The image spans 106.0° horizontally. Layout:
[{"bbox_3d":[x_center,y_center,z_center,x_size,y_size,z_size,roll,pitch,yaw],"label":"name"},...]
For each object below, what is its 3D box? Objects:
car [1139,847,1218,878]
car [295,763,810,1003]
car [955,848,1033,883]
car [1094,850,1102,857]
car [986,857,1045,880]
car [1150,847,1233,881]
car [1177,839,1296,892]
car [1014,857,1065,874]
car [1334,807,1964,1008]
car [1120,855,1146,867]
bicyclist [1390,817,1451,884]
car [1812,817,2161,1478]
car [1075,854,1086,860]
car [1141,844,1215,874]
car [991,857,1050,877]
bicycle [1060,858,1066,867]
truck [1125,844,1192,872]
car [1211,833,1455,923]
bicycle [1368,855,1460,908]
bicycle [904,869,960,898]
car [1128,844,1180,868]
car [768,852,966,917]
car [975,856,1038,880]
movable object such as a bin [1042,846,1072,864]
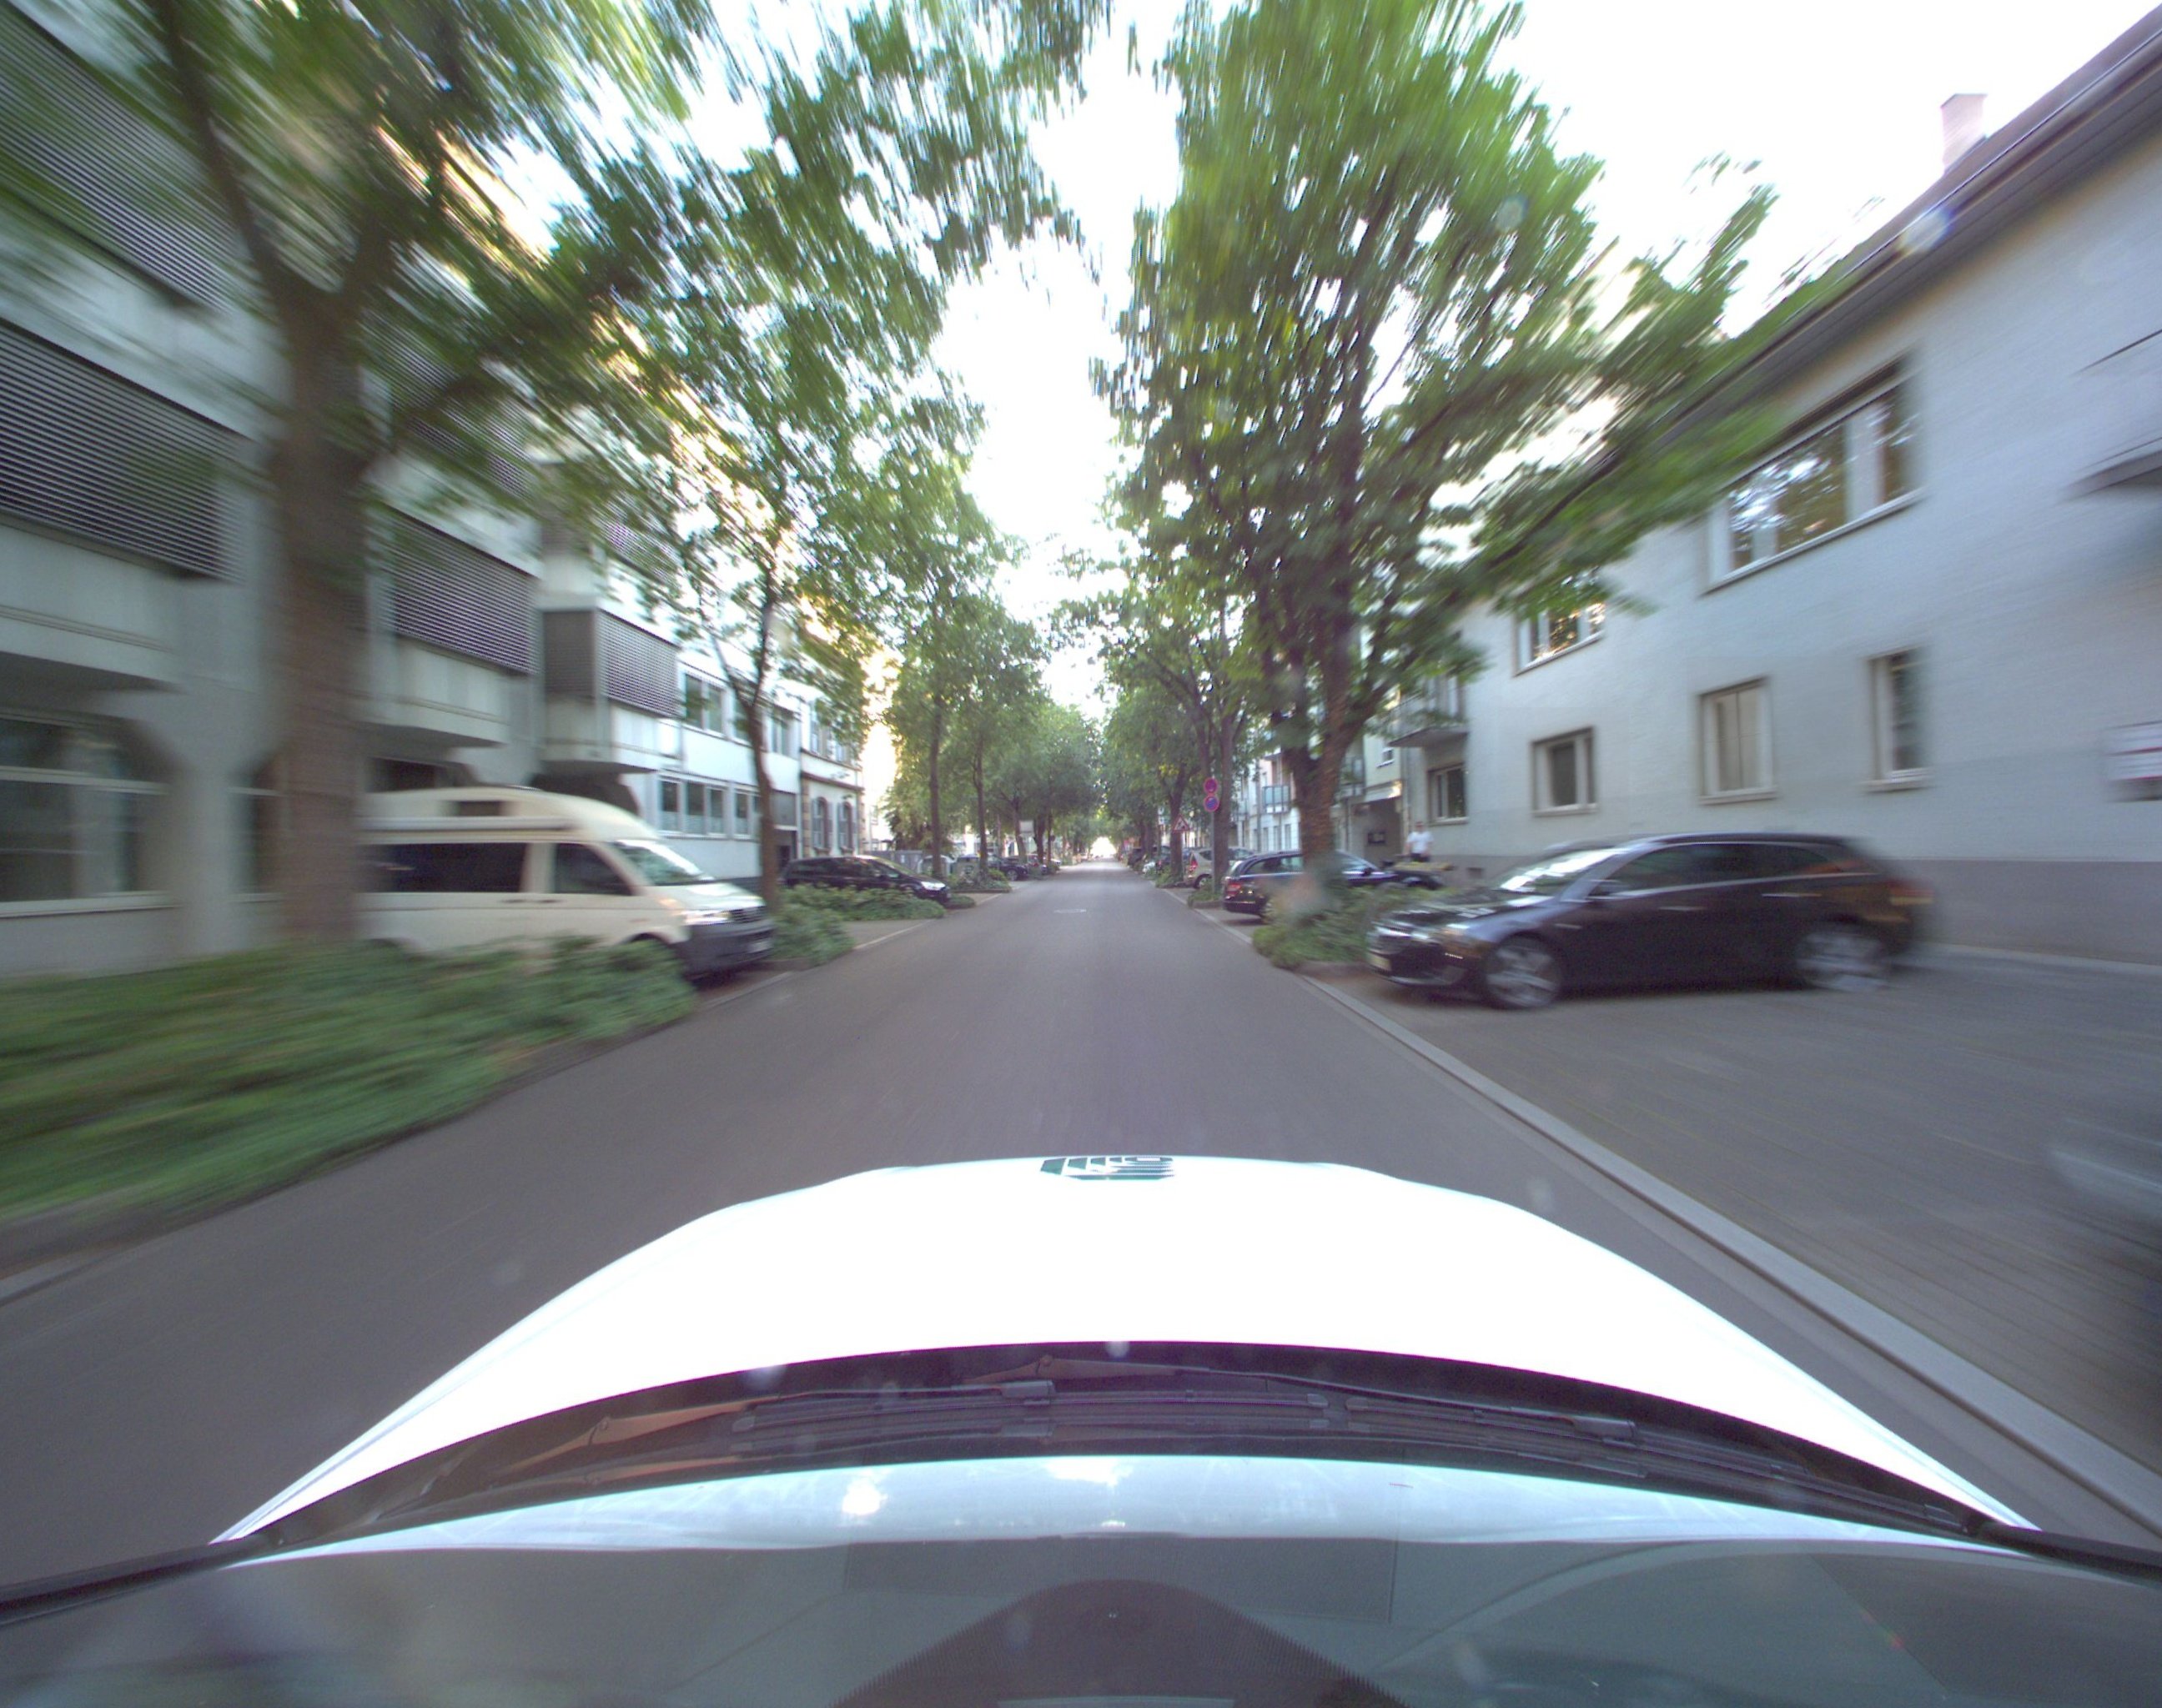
[{"bbox_3d":[5.928,0.514,50.097,4.584,1.468,1.796,-4,0,0],"label":"car"},{"bbox_3d":[-6.278,0.329,10.176,4.985,2.573,2.121,-1,0,1],"label":"car"},{"bbox_3d":[-5.236,0.701,49.556,4.490,1.955,2.000,-1,0,0],"label":"car"},{"bbox_3d":[4.277,-0.106,210.781,2.003,1.613,4.119,-1,0,0],"label":"car"},{"bbox_3d":[-4.764,1.074,59.818,3.966,1.565,1.933,-1,0,6],"label":"car"},{"bbox_3d":[5.937,0.547,44.070,4.075,1.451,1.932,-5,0,-4],"label":"car"},{"bbox_3d":[5.645,0.422,29.933,3.955,1.585,1.917,-4,0,1],"label":"car"},{"bbox_3d":[-3.973,1.066,78.319,4.599,1.552,2.077,-1,0,3],"label":"car"},{"bbox_3d":[5.133,0.471,7.968,4.659,1.388,2.002,-4,0,3],"label":"car"},{"bbox_3d":[7.959,1.073,124.718,3.970,1.585,2.002,-2,0,3],"label":"car"},{"bbox_3d":[8.402,-0.086,20.215,0.968,1.604,1.135,-2,0,-3],"label":"bicyclist"},{"bbox_3d":[4.763,0.521,1.505,4.819,1.448,2.044,-4,0,3],"label":"car"},{"bbox_3d":[-0.185,0.593,161.086,1.989,1.288,3.996,-1,0,-3],"label":"car"},{"bbox_3d":[6.521,0.358,55.263,4.631,1.617,2.008,-5,0,-3],"label":"car"},{"bbox_3d":[-4.596,0.967,62.445,4.272,1.430,1.880,-1,0,1],"label":"car"},{"bbox_3d":[-2.285,1.052,101.625,0.681,1.152,1.978,-2,0,-3],"label":"bicycle"},{"bbox_3d":[6.928,0.328,73.305,5.865,2.311,2.213,-1,0,2],"label":"truck"},{"bbox_3d":[5.024,0.474,16.824,4.437,1.427,2.014,-4,-1,5],"label":"car"},{"bbox_3d":[8.033,0.627,19.896,0.619,1.164,3.396,-2,0,-4],"label":"bicycle"},{"bbox_3d":[-4.515,0.895,24.690,1.545,0.830,0.614,-1,0,4],"label":"bicycle"},{"bbox_3d":[6.796,0.182,76.053,4.585,2.066,2.197,-2,0,0],"label":"car"},{"bbox_3d":[-5.823,0.818,22.587,4.834,1.621,2.161,-1,0,2],"label":"car"},{"bbox_3d":[-4.976,0.908,54.774,3.974,1.464,1.922,-1,0,0],"label":"car"},{"bbox_3d":[-3.443,0.180,116.191,4.038,2.383,2.780,-2,0,-4],"label":"movable object such as a bin"}]
